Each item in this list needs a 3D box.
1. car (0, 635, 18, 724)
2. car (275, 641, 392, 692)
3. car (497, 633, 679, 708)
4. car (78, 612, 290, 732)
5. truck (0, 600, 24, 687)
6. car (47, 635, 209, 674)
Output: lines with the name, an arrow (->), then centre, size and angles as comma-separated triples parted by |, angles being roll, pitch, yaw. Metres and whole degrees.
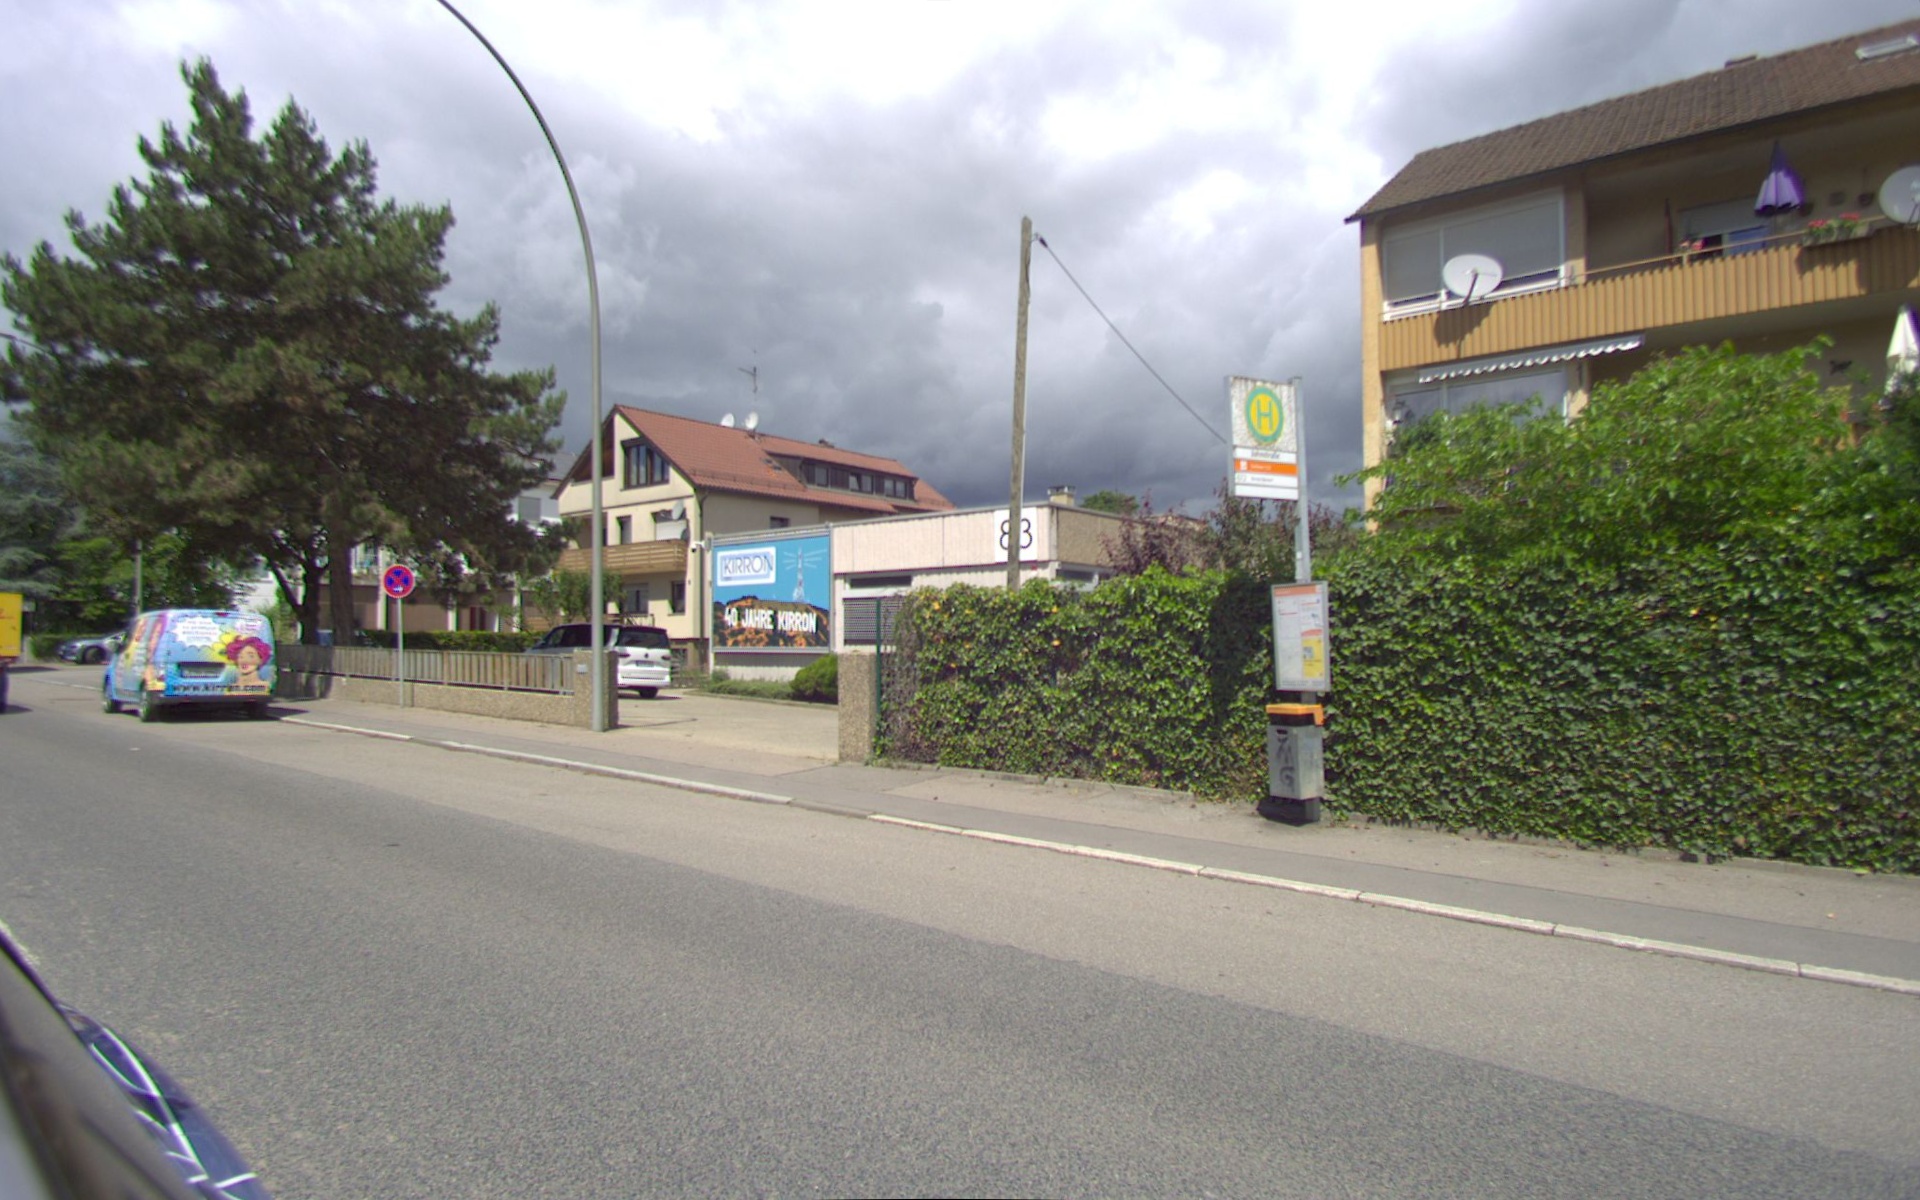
car -> -18.729, 1.401, 18.239 | 4.313, 1.529, 1.882 | -2, -3, 38
car -> -20.101, 2.082, 32.436 | 4.078, 1.555, 1.751 | -2, -3, 35
car -> -10.064, 1.822, 27.155 | 5.473, 1.845, 2.059 | -2, -4, 39
car -> -13.896, 1.297, 18.018 | 4.890, 1.868, 1.815 | -3, -7, 39
truck -> -36.868, 1.559, 37.128 | 7.807, 3.026, 2.301 | -2, -5, 38
car -> -35.191, 2.274, 42.934 | 1.969, 1.563, 4.961 | -1, -2, 37
